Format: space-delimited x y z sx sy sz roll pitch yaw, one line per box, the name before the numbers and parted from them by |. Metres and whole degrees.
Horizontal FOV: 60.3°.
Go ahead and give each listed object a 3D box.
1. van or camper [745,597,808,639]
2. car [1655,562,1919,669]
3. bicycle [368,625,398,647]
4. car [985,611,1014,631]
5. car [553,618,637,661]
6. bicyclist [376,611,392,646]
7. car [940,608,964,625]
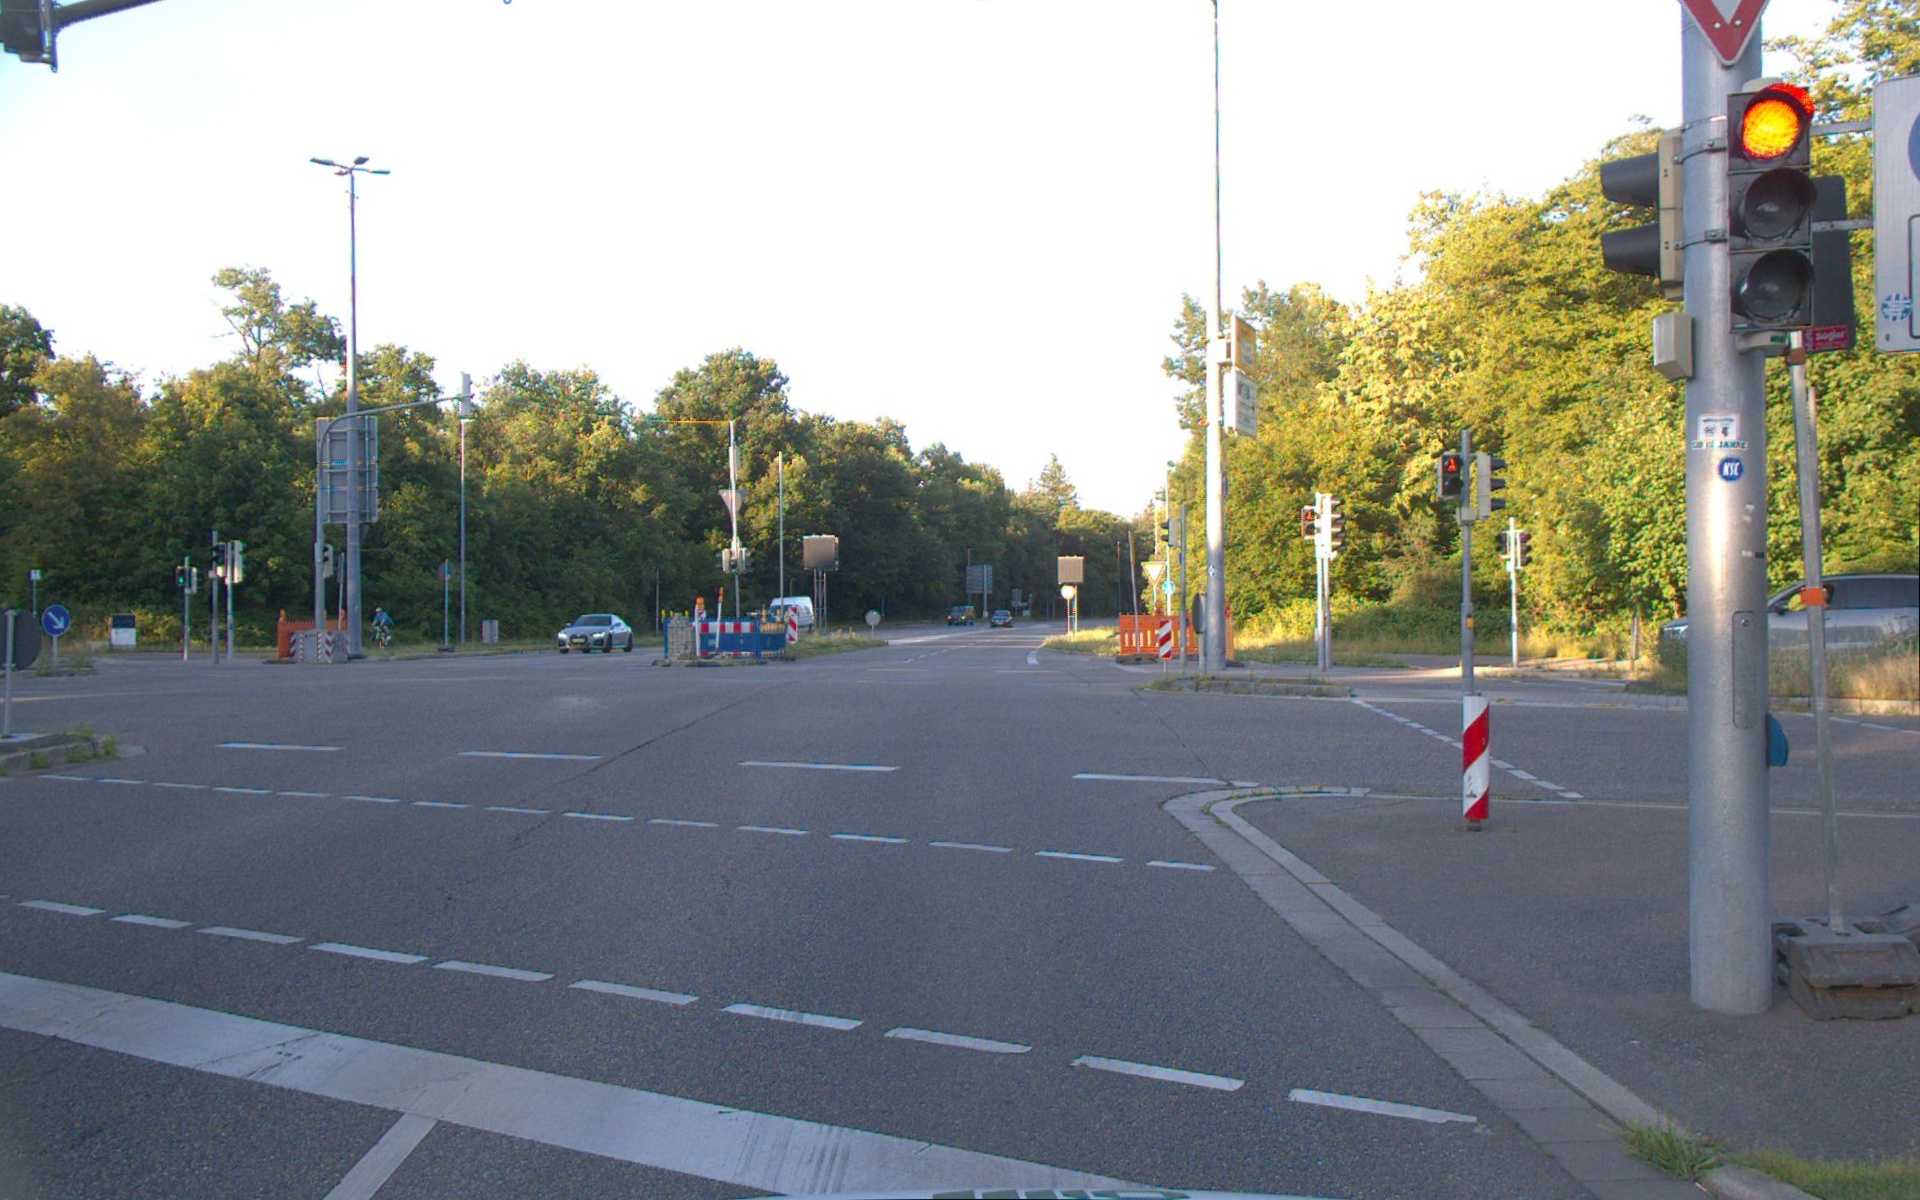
van or camper | -12.153 1.153 110.047 2.824 2.699 7.126 0 0 5
car | 13.747 0.244 26.493 4.716 1.626 2.000 -1 0 21
bicycle | -23.405 1.461 67.113 1.096 0.840 0.407 0 0 -42
car | 3.655 1.943 151.583 1.951 1.668 4.004 -2 1 11
car | -13.304 1.412 60.600 1.852 1.466 4.502 0 0 3
bicyclist | -23.386 1.171 67.139 0.515 1.411 0.401 0 0 -42
car | -0.813 1.680 170.187 1.951 1.668 4.003 0 0 7
